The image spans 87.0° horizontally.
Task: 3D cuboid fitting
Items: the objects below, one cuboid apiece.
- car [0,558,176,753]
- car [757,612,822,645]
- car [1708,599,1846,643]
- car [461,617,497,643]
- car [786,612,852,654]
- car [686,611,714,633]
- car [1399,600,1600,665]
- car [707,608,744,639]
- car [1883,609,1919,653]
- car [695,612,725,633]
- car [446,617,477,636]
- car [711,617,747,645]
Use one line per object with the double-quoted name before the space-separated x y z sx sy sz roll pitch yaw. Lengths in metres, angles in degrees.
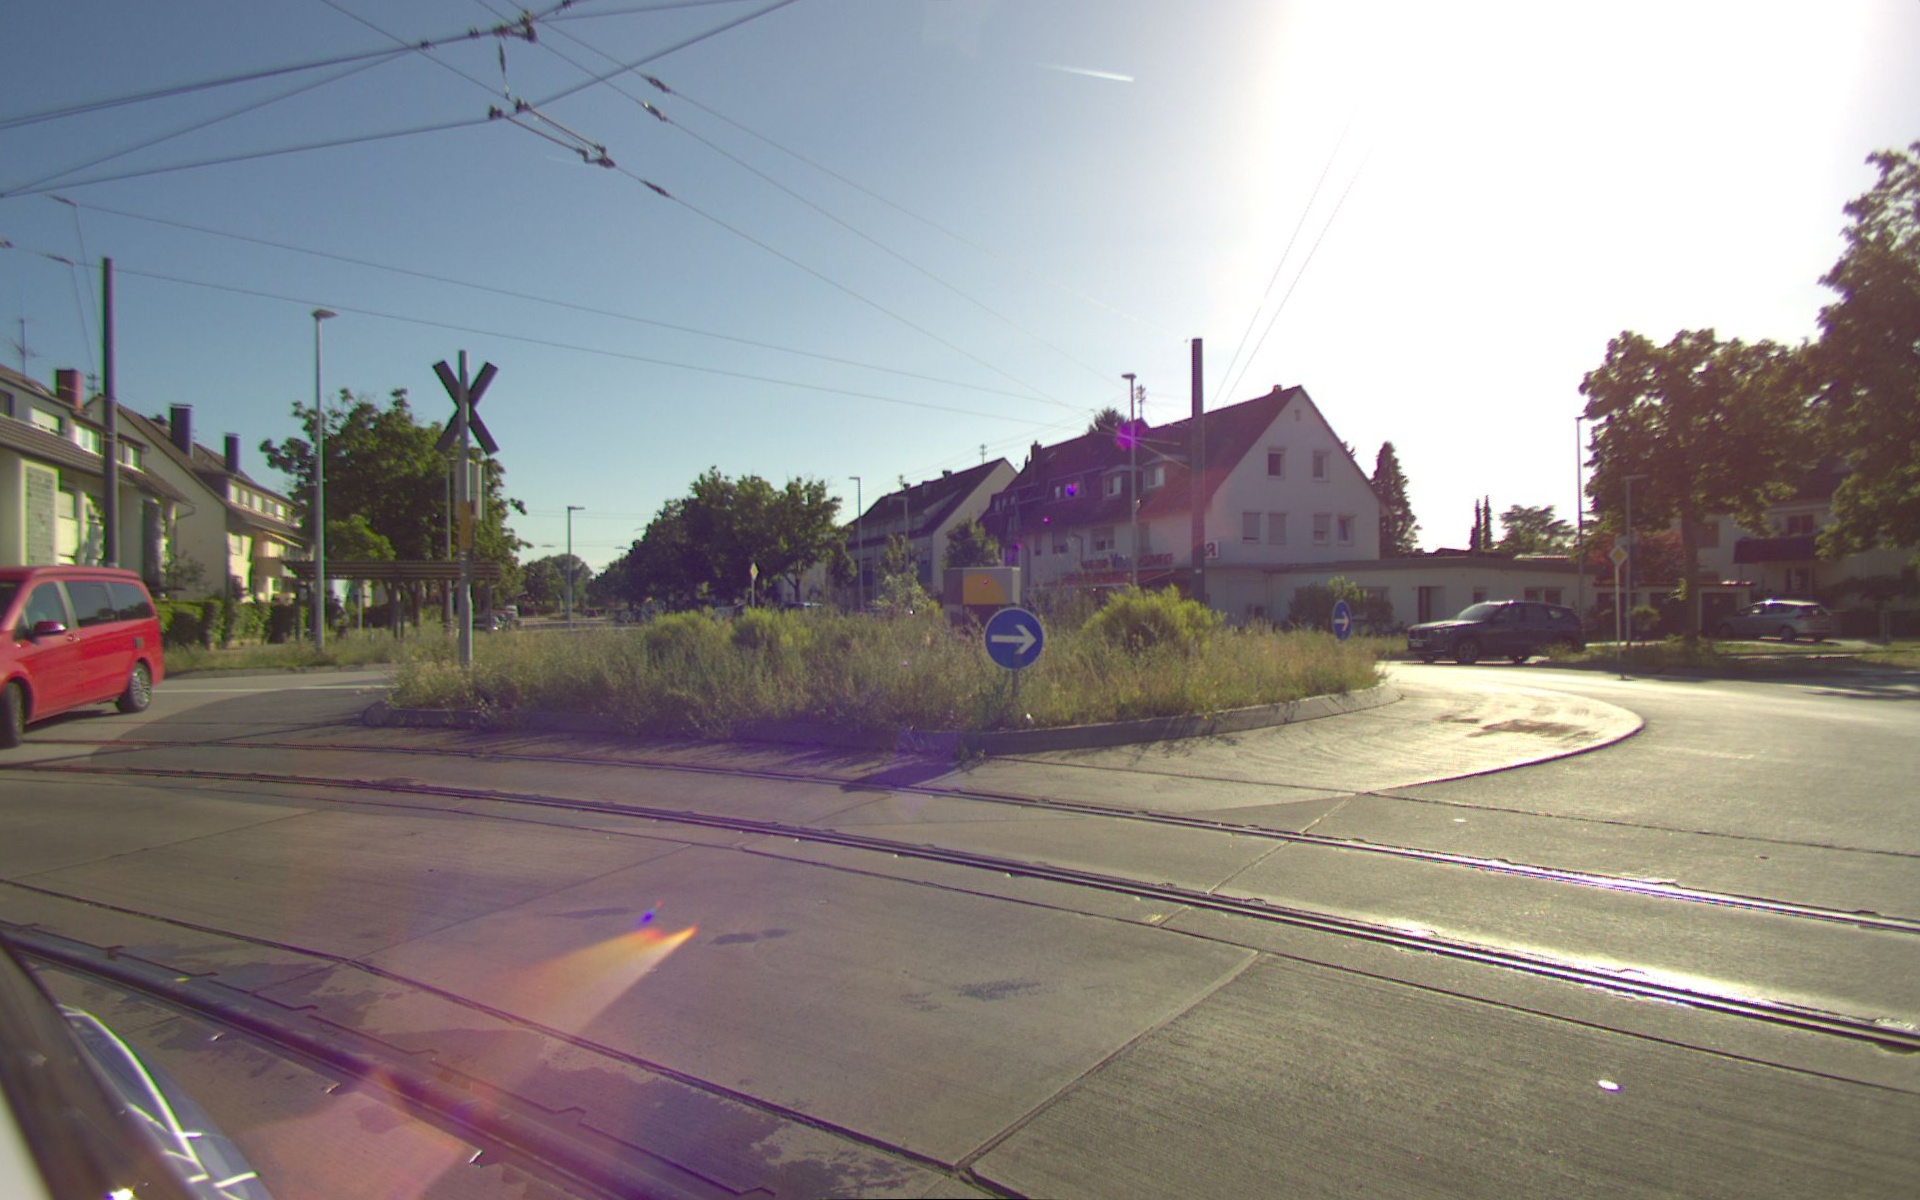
"car" -11.333 0.582 11.712 1.966 1.996 5.254 -1 0 -19
"car" -8.780 1.442 52.271 3.041 1.632 1.408 0 1 7
"car" 33.884 0.834 42.129 1.966 1.707 4.062 0 1 -14
"car" -29.253 1.814 61.627 1.795 1.403 3.803 0 1 -23
"car" -6.653 1.509 47.414 1.965 1.711 4.386 0 1 -24
"car" -21.316 1.779 82.821 1.525 1.689 4.235 0 -1 -24
"car" 14.022 0.805 26.420 4.369 1.592 1.840 0 1 -9
"car" -17.118 1.693 73.691 1.864 2.029 4.386 0 1 -24
"car" 32.784 1.002 33.506 3.931 1.375 1.605 0 1 -20
"car" -19.472 1.716 78.741 1.519 1.604 4.090 0 -1 -24
"car" -37.040 1.971 75.269 1.795 1.403 3.881 0 -1 -23
"car" -15.459 2.023 67.531 1.891 1.628 4.298 0 1 -19
